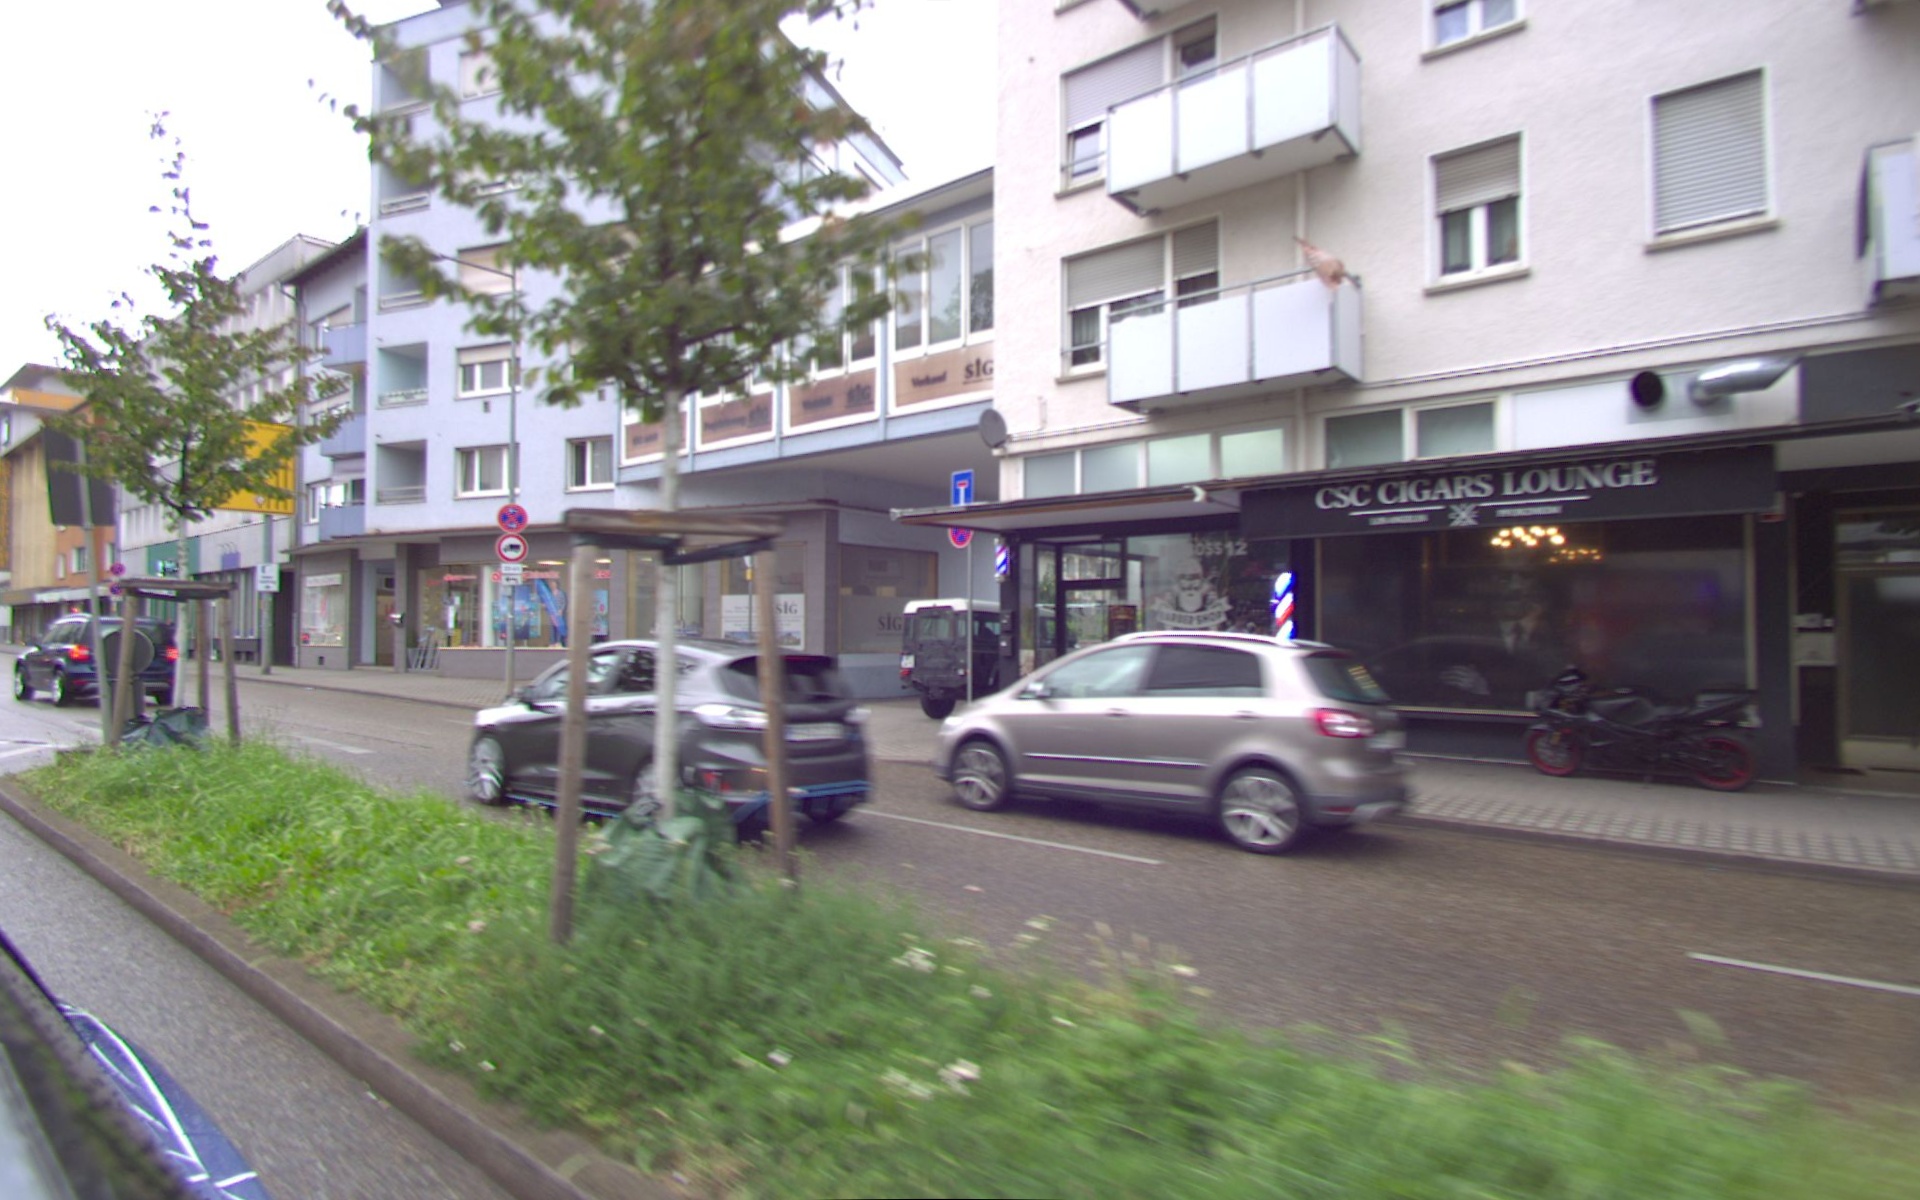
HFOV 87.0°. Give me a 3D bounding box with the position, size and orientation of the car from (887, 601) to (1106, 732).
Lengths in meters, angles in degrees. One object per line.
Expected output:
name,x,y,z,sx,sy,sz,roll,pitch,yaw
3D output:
car,0.755,1.132,18.122,1.893,2.070,3.946,-1,-3,40

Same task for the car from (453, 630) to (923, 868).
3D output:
car,-2.294,1.017,8.098,3.836,1.452,1.681,-2,-5,39

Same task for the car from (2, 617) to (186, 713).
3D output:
car,-16.523,1.220,19.260,3.832,1.656,1.756,-2,-5,36

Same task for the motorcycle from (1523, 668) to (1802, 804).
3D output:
motorcycle,6.827,1.273,9.943,2.193,1.096,0.662,-1,0,39

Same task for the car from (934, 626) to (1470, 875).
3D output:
car,1.887,1.082,8.526,4.022,1.601,1.755,-2,-5,39
